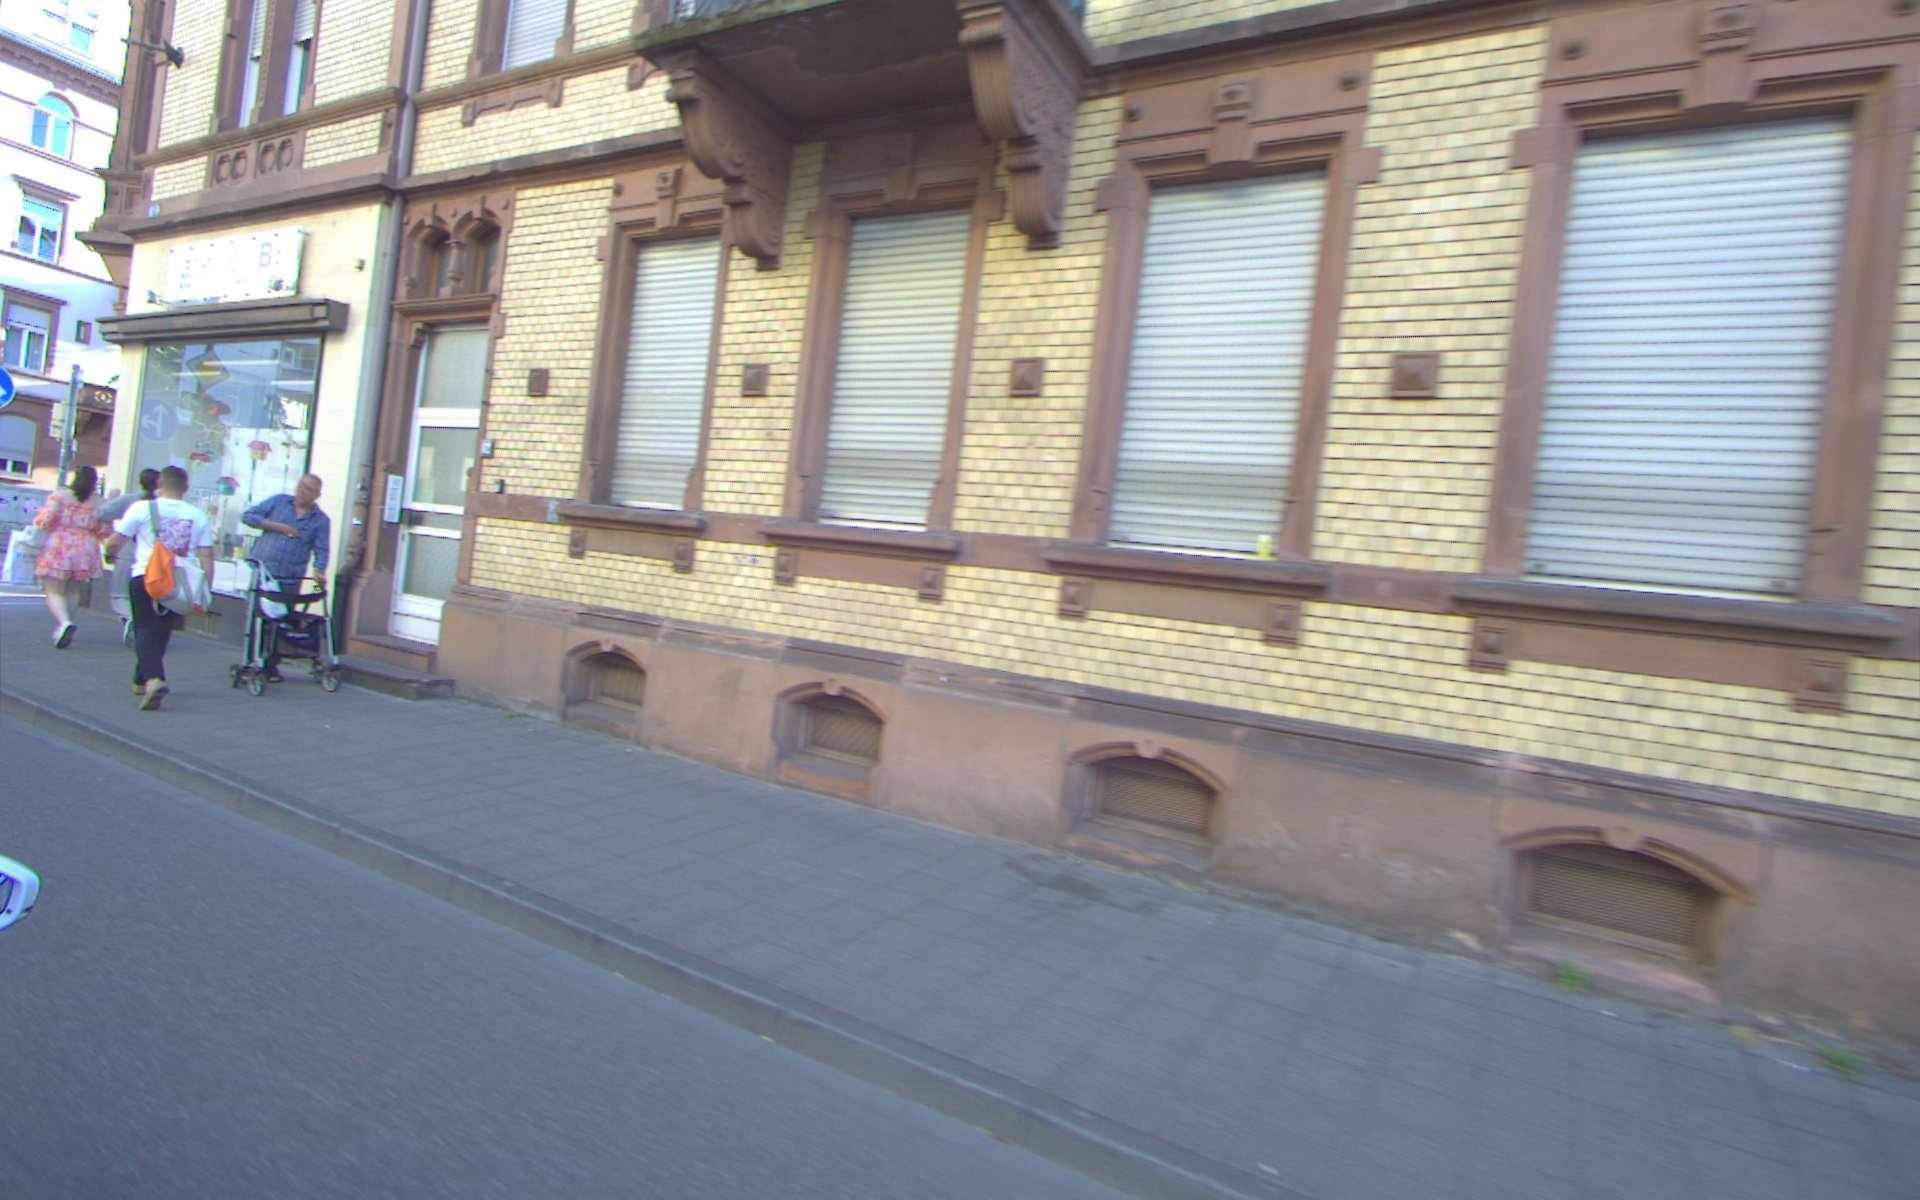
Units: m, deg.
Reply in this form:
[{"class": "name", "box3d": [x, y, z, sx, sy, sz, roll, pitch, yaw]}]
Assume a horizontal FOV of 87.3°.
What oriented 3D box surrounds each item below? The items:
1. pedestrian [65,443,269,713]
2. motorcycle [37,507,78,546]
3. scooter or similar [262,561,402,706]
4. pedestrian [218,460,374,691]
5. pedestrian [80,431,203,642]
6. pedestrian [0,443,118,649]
[{"class": "pedestrian", "box3d": [-5.931, -0.179, 7.530, 1.073, 1.825, 0.805, 8, 4, 29]}, {"class": "motorcycle", "box3d": [-30.071, -2.459, 33.498, 2.255, 1.032, 0.718, 10, 1, 42]}, {"class": "scooter or similar", "box3d": [-5.155, 0.259, 8.273, 0.512, 1.085, 0.805, 7, 4, 30]}, {"class": "pedestrian", "box3d": [-5.661, -0.212, 8.587, 0.749, 1.825, 0.805, 8, 5, 30]}, {"class": "pedestrian", "box3d": [-7.965, -0.608, 9.794, 0.659, 1.935, 0.690, 8, 5, 29]}, {"class": "pedestrian", "box3d": [-8.594, -0.511, 9.438, 0.748, 1.825, 0.805, 8, 4, 29]}]
